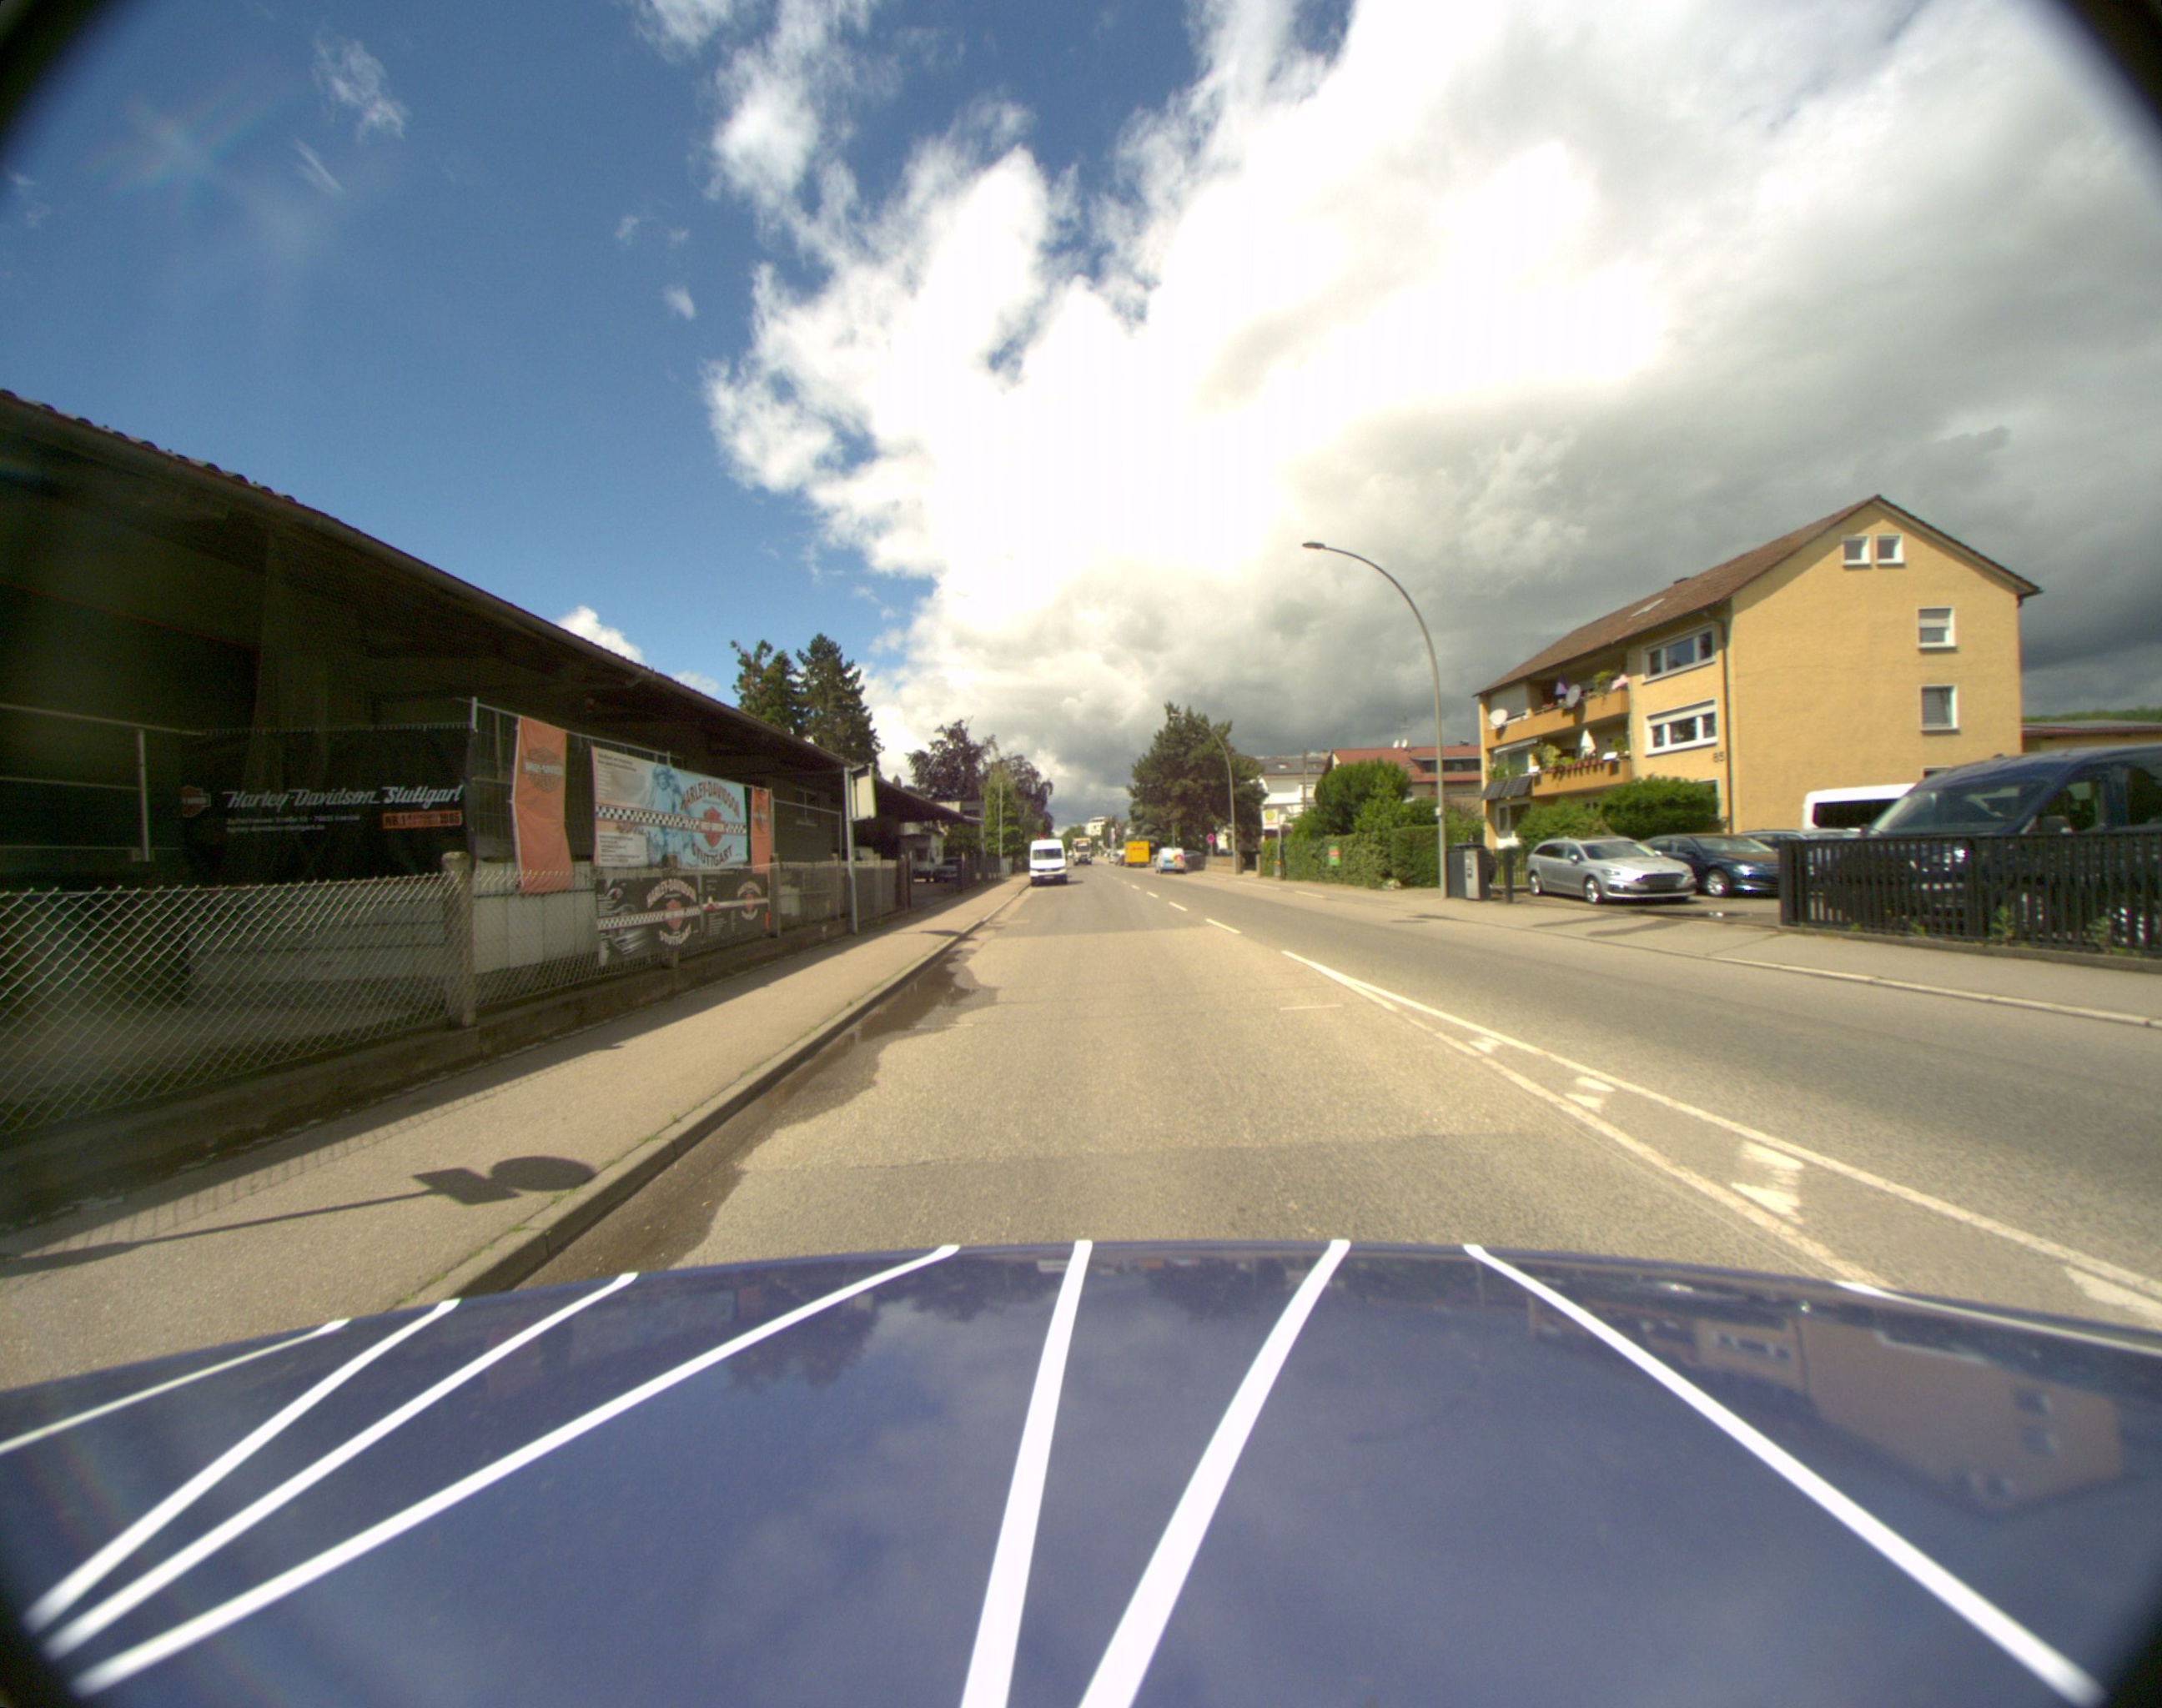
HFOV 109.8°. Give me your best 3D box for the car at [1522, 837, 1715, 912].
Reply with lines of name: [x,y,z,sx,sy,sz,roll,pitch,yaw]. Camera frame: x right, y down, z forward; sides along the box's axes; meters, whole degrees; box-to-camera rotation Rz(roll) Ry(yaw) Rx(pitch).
car: [12.340,0.394,17.848,1.887,1.450,4.352,-3,1,8]

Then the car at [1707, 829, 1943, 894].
car: [17.912,0.145,18.607,1.883,1.364,3.999,-2,1,1]

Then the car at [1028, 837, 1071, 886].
car: [-1.702,0.374,43.185,2.091,2.519,5.202,-2,1,1]

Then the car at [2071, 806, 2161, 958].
car: [12.383,0.281,6.998,1.813,1.612,3.621,-2,1,1]

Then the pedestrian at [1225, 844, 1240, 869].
pedestrian: [13.782,0.204,69.121,0.786,2.226,1.083,-3,2,-41]

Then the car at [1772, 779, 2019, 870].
car: [20.432,-0.691,19.357,1.998,2.002,3.999,-2,1,1]

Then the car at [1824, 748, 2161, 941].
car: [14.224,-0.182,10.671,5.363,2.371,2.104,-2,1,2]

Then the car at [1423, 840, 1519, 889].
car: [14.629,0.360,28.727,1.831,1.656,3.522,-2,1,1]

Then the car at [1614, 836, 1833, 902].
car: [15.104,0.300,18.195,1.885,1.334,3.999,-2,1,1]

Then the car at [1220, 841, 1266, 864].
car: [15.295,-0.142,71.841,2.003,2.002,3.990,-3,1,-32]

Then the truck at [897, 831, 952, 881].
truck: [-9.473,0.106,46.392,2.091,2.812,5.202,-2,1,1]

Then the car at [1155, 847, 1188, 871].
car: [6.511,0.332,55.190,1.730,1.671,3.999,-2,1,-2]

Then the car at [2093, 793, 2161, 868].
car: [28.713,-0.630,18.813,1.998,1.915,3.999,-2,1,1]

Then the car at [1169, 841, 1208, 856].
car: [14.168,-0.737,99.986,4.735,1.669,2.218,-2,1,-1]

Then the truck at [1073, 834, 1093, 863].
truck: [0.329,-0.800,109.605,2.664,3.789,9.814,-2,1,1]

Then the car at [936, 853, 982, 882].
car: [-7.138,0.735,44.828,1.863,1.521,5.202,-2,1,0]
